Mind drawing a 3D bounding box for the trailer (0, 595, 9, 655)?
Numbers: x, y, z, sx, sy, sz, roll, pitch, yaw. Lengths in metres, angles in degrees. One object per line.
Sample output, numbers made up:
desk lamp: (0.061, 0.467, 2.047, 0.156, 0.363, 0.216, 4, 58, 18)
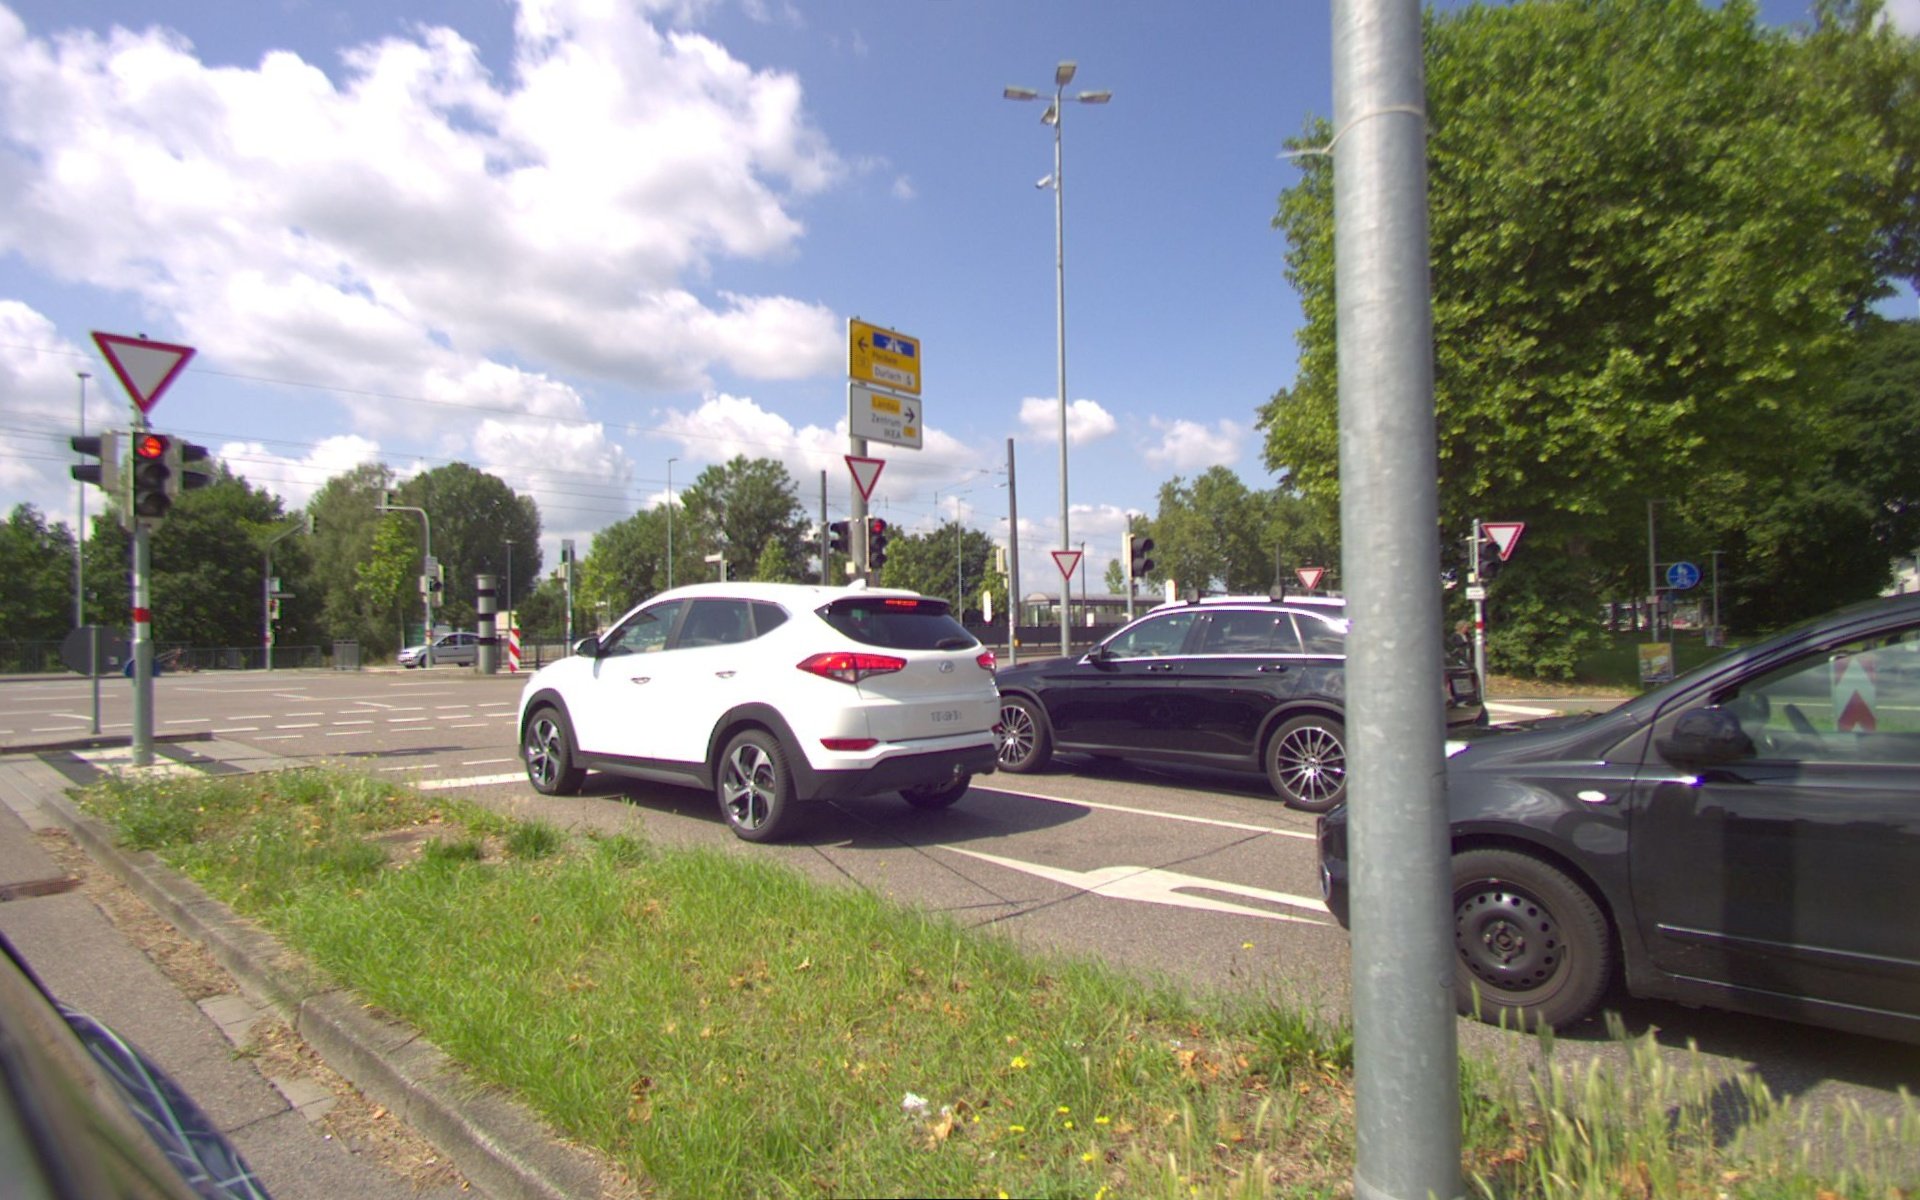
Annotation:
trailer: (-31.556, 0.758, 29.645, 1.820, 1.845, 5.124, -1, -1, 33)

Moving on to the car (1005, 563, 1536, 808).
car: (2.511, 0.591, 8.725, 3.998, 1.627, 1.752, 0, -2, 41)

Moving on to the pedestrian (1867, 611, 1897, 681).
pedestrian: (23.007, 1.141, 25.247, 0.449, 1.716, 0.399, -2, -1, 36)

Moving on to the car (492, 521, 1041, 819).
car: (-1.665, 0.413, 7.629, 4.375, 1.632, 1.690, 0, -2, 41)

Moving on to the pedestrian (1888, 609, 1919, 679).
pedestrian: (23.322, 1.084, 24.963, 0.515, 1.716, 0.405, -2, -1, 36)

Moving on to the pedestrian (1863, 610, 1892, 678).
pedestrian: (23.445, 1.127, 25.875, 0.409, 1.716, 0.522, -2, -1, 32)

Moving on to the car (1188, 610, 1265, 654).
car: (11.521, 1.336, 43.597, 2.016, 1.736, 4.205, -2, -1, 32)

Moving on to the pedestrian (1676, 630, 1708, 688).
pedestrian: (17.168, 1.375, 23.734, 0.538, 1.334, 0.485, -1, -1, 42)

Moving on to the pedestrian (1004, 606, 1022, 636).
pedestrian: (3.101, 1.231, 58.876, 0.760, 1.722, 0.782, -2, -3, 37)

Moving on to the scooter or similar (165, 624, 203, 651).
scooter or similar: (-33.513, 1.626, 43.727, 0.343, 1.107, 1.233, -2, -1, 38)

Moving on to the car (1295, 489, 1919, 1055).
car: (3.339, 0.479, 3.074, 4.130, 1.505, 1.587, -1, -3, 41)

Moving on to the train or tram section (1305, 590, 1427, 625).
train or tram section: (43.338, 0.984, 106.866, 4.526, 3.055, 24.793, -2, -3, 40)

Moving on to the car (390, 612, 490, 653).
car: (-22.315, 1.357, 43.487, 1.701, 1.466, 3.444, 2, 4, 41)
